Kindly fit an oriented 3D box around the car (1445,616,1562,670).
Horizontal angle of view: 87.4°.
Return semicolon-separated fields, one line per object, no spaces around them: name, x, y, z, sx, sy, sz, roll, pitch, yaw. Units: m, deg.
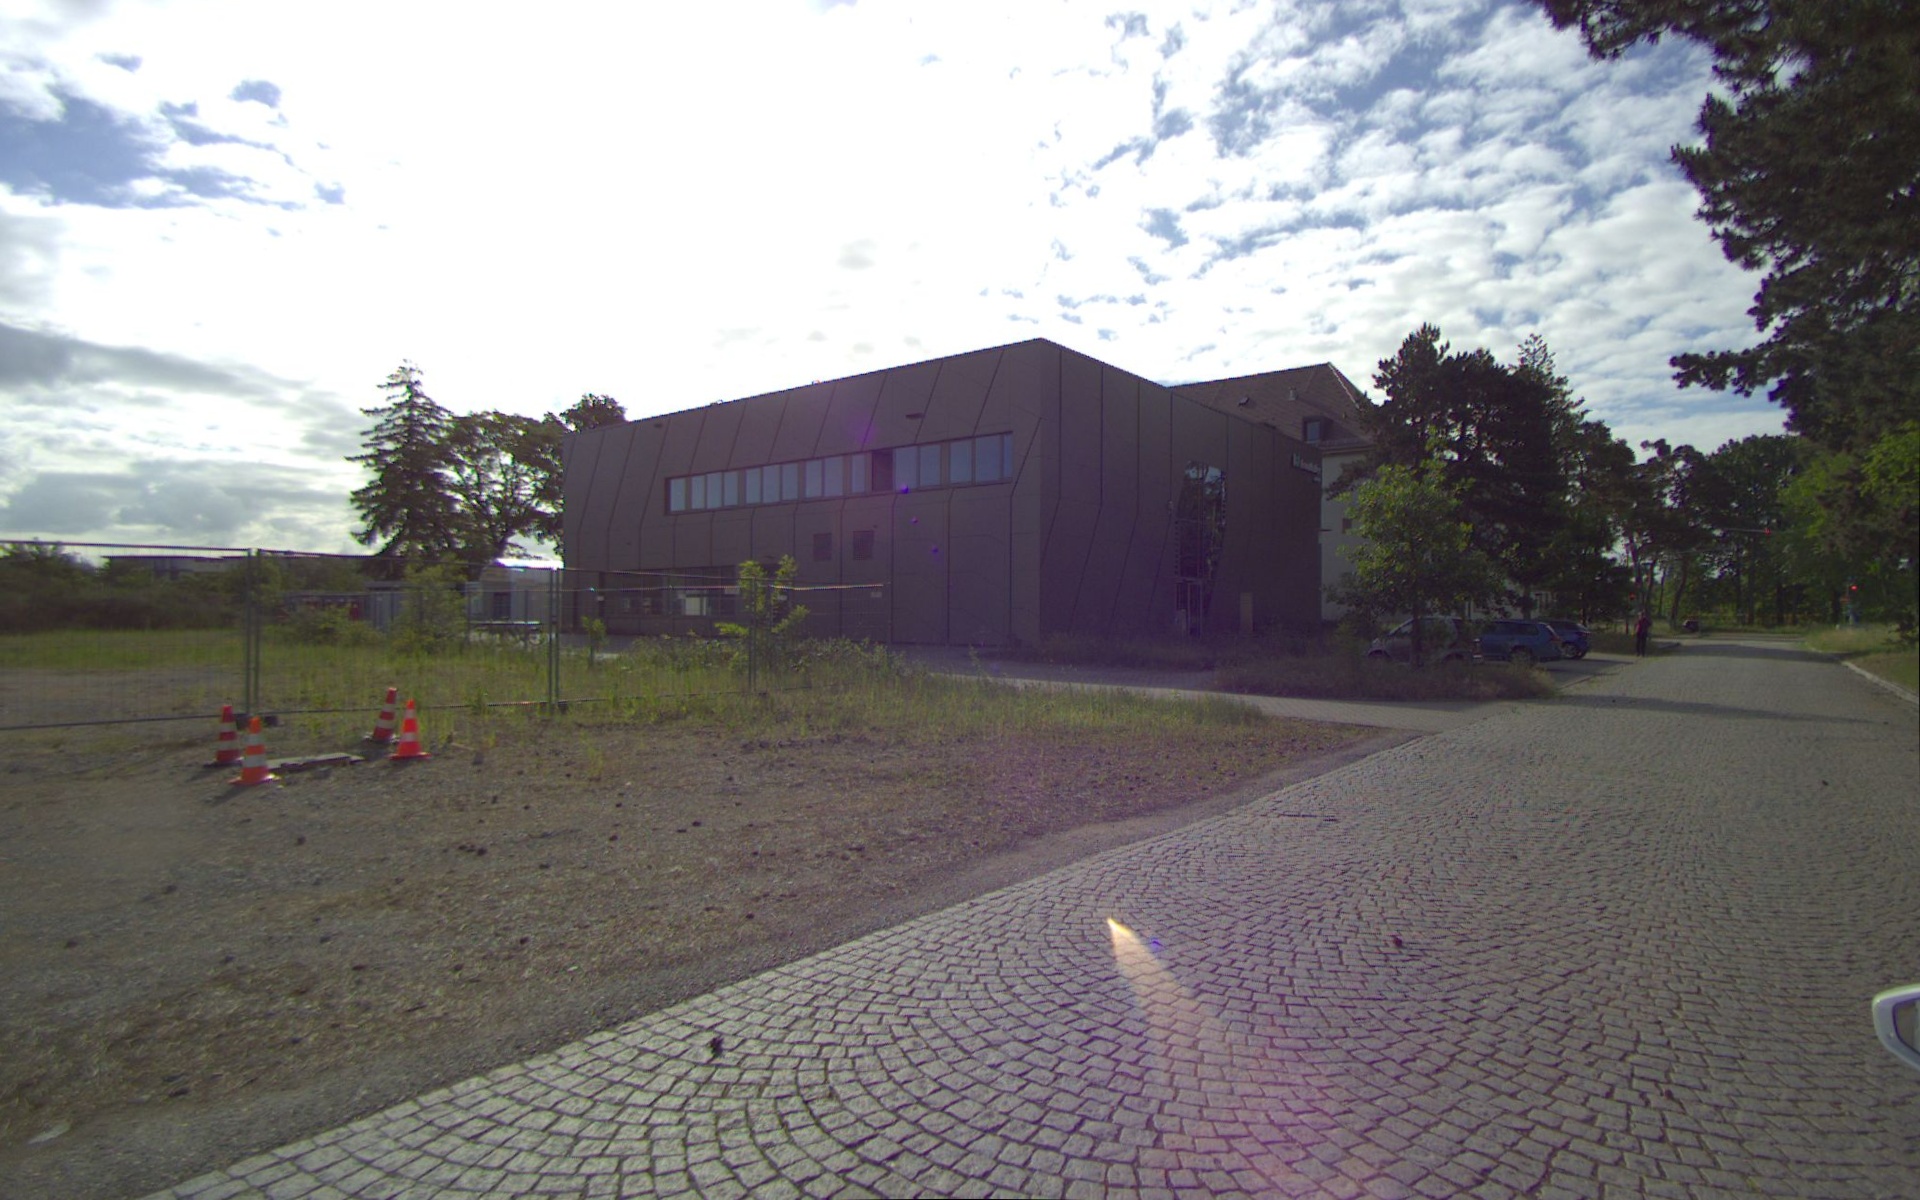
car;16.927;1.312;31.319;3.042;1.477;1.487;2;1;34

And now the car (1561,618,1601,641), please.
car;44.118;2.069;71.341;1.969;1.639;3.983;-1;-1;39

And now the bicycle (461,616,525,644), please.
bicycle;-18.135;1.162;39.017;0.931;1.058;2.062;0;-1;36

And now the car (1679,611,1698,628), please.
car;88.272;2.323;121.630;1.677;2.040;3.983;0;-1;39

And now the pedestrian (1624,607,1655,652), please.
pedestrian;28.570;1.244;42.261;0.941;1.868;0.955;0;-1;25

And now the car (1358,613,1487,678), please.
car;11.937;1.137;25.987;2.730;1.570;1.417;-1;-1;43

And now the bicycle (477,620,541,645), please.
bicycle;-17.266;1.228;38.520;0.931;0.934;2.062;0;-1;36

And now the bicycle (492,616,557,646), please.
bicycle;-16.339;1.142;37.702;0.931;1.101;2.062;0;-1;36

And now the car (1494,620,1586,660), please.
car;22.416;1.529;38.831;3.041;1.469;1.488;0;-1;33
